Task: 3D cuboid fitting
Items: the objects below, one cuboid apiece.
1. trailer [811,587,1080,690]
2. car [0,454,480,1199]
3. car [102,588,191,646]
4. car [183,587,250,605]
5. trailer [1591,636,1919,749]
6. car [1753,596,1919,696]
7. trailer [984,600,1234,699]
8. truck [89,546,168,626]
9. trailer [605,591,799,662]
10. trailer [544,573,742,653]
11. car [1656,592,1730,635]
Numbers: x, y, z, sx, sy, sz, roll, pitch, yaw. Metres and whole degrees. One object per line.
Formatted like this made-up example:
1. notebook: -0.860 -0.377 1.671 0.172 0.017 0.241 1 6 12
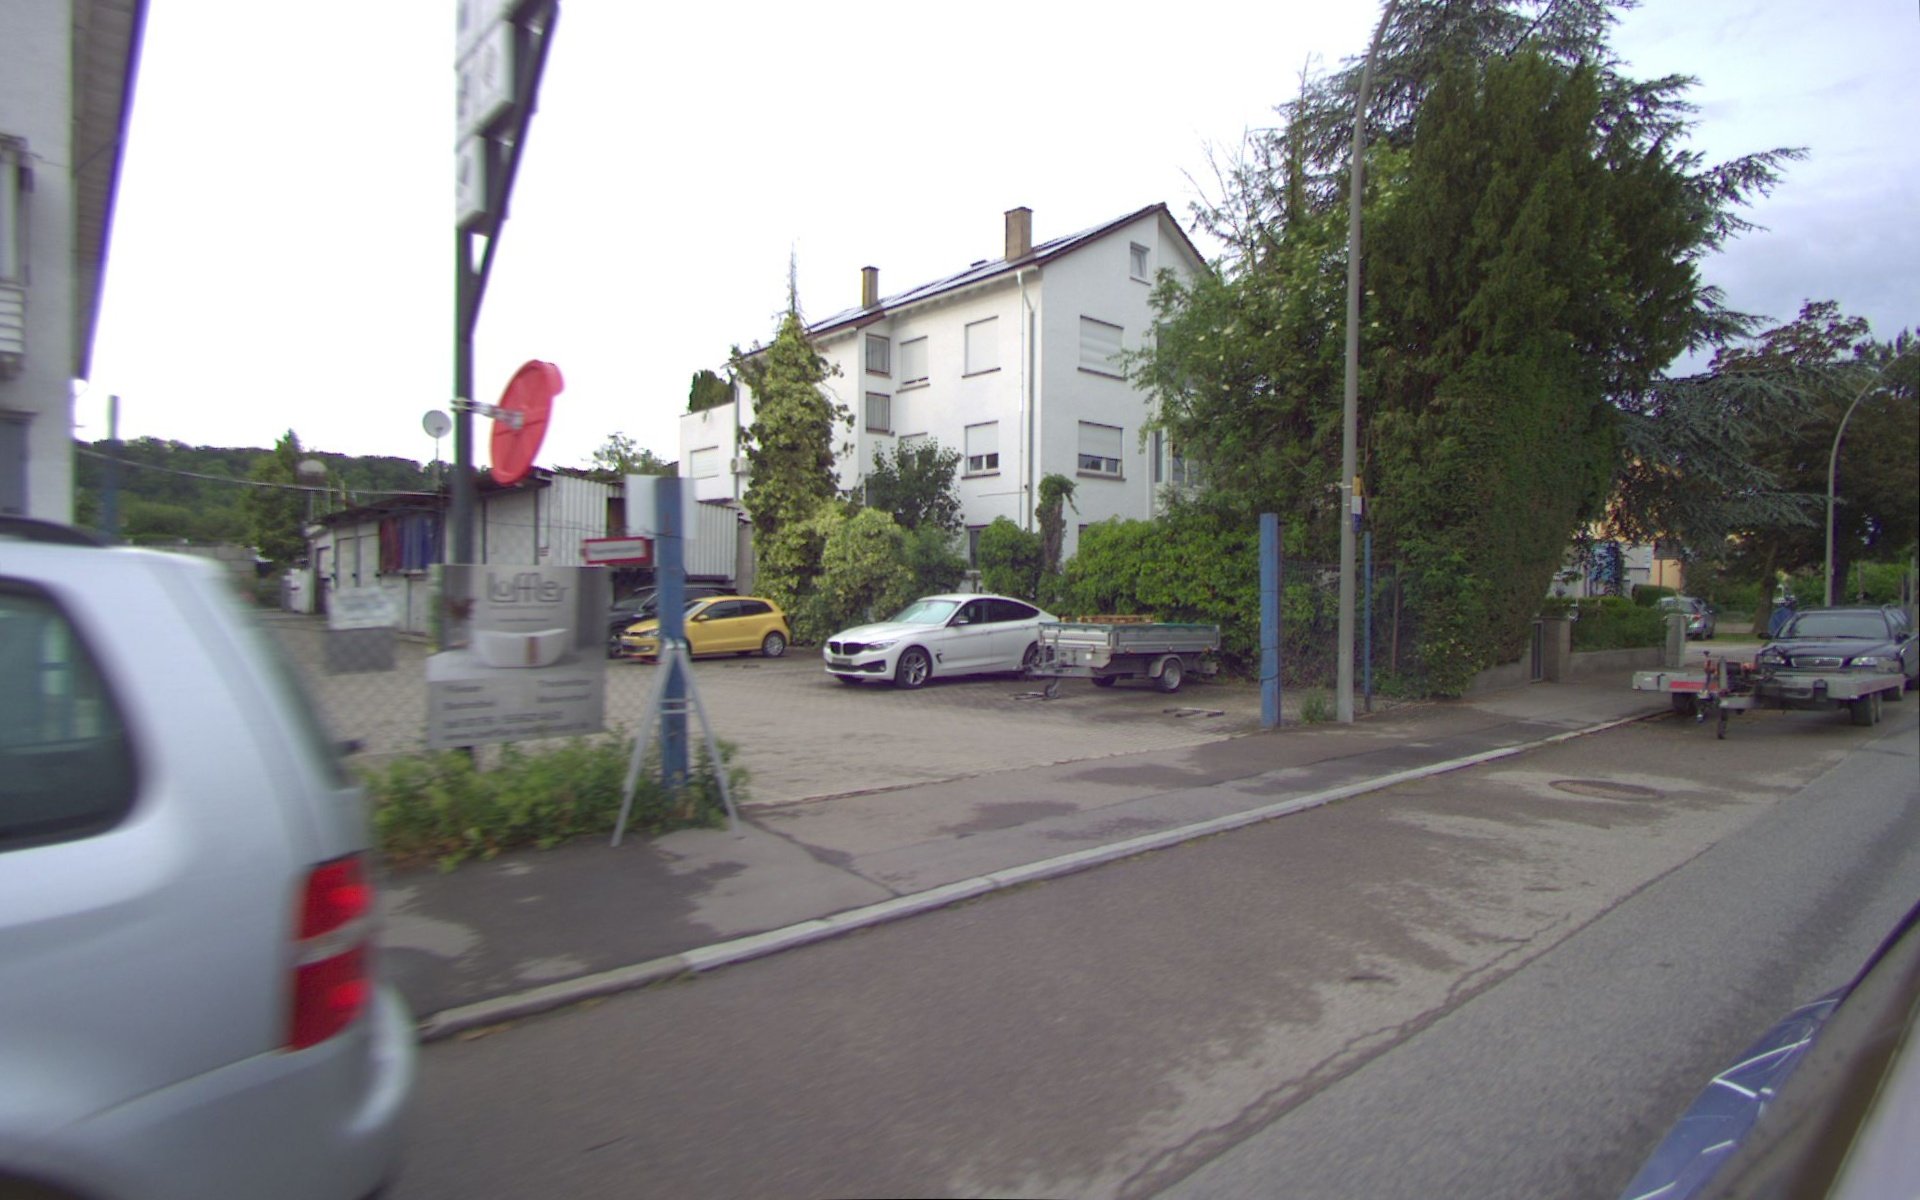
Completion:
1. trailer: -0.123 0.549 17.454 4.725 1.539 1.770 -1 1 -44
2. car: -3.039 0.639 1.078 4.295 1.642 1.742 -1 0 -39
3. car: -21.635 0.407 26.872 1.667 1.431 3.771 0 0 -41
4. car: -48.792 -0.289 66.468 3.457 1.162 1.612 -1 0 -41
5. trailer: 10.248 0.991 12.727 6.521 0.909 2.177 0 -1 -42
6. car: 15.005 0.682 16.938 4.565 1.451 1.743 -1 -1 -39
7. trailer: 2.339 0.661 15.461 3.821 1.291 1.619 -1 1 -38
8. truck: -30.967 -0.555 37.638 2.039 2.813 4.606 0 1 -42
9. trailer: -5.850 0.539 23.237 4.024 1.483 1.643 -1 0 -41
10. trailer: -7.824 0.283 25.266 1.993 1.836 4.336 -1 0 43
11. car: 27.668 0.460 38.158 1.744 1.507 4.053 1 1 44
